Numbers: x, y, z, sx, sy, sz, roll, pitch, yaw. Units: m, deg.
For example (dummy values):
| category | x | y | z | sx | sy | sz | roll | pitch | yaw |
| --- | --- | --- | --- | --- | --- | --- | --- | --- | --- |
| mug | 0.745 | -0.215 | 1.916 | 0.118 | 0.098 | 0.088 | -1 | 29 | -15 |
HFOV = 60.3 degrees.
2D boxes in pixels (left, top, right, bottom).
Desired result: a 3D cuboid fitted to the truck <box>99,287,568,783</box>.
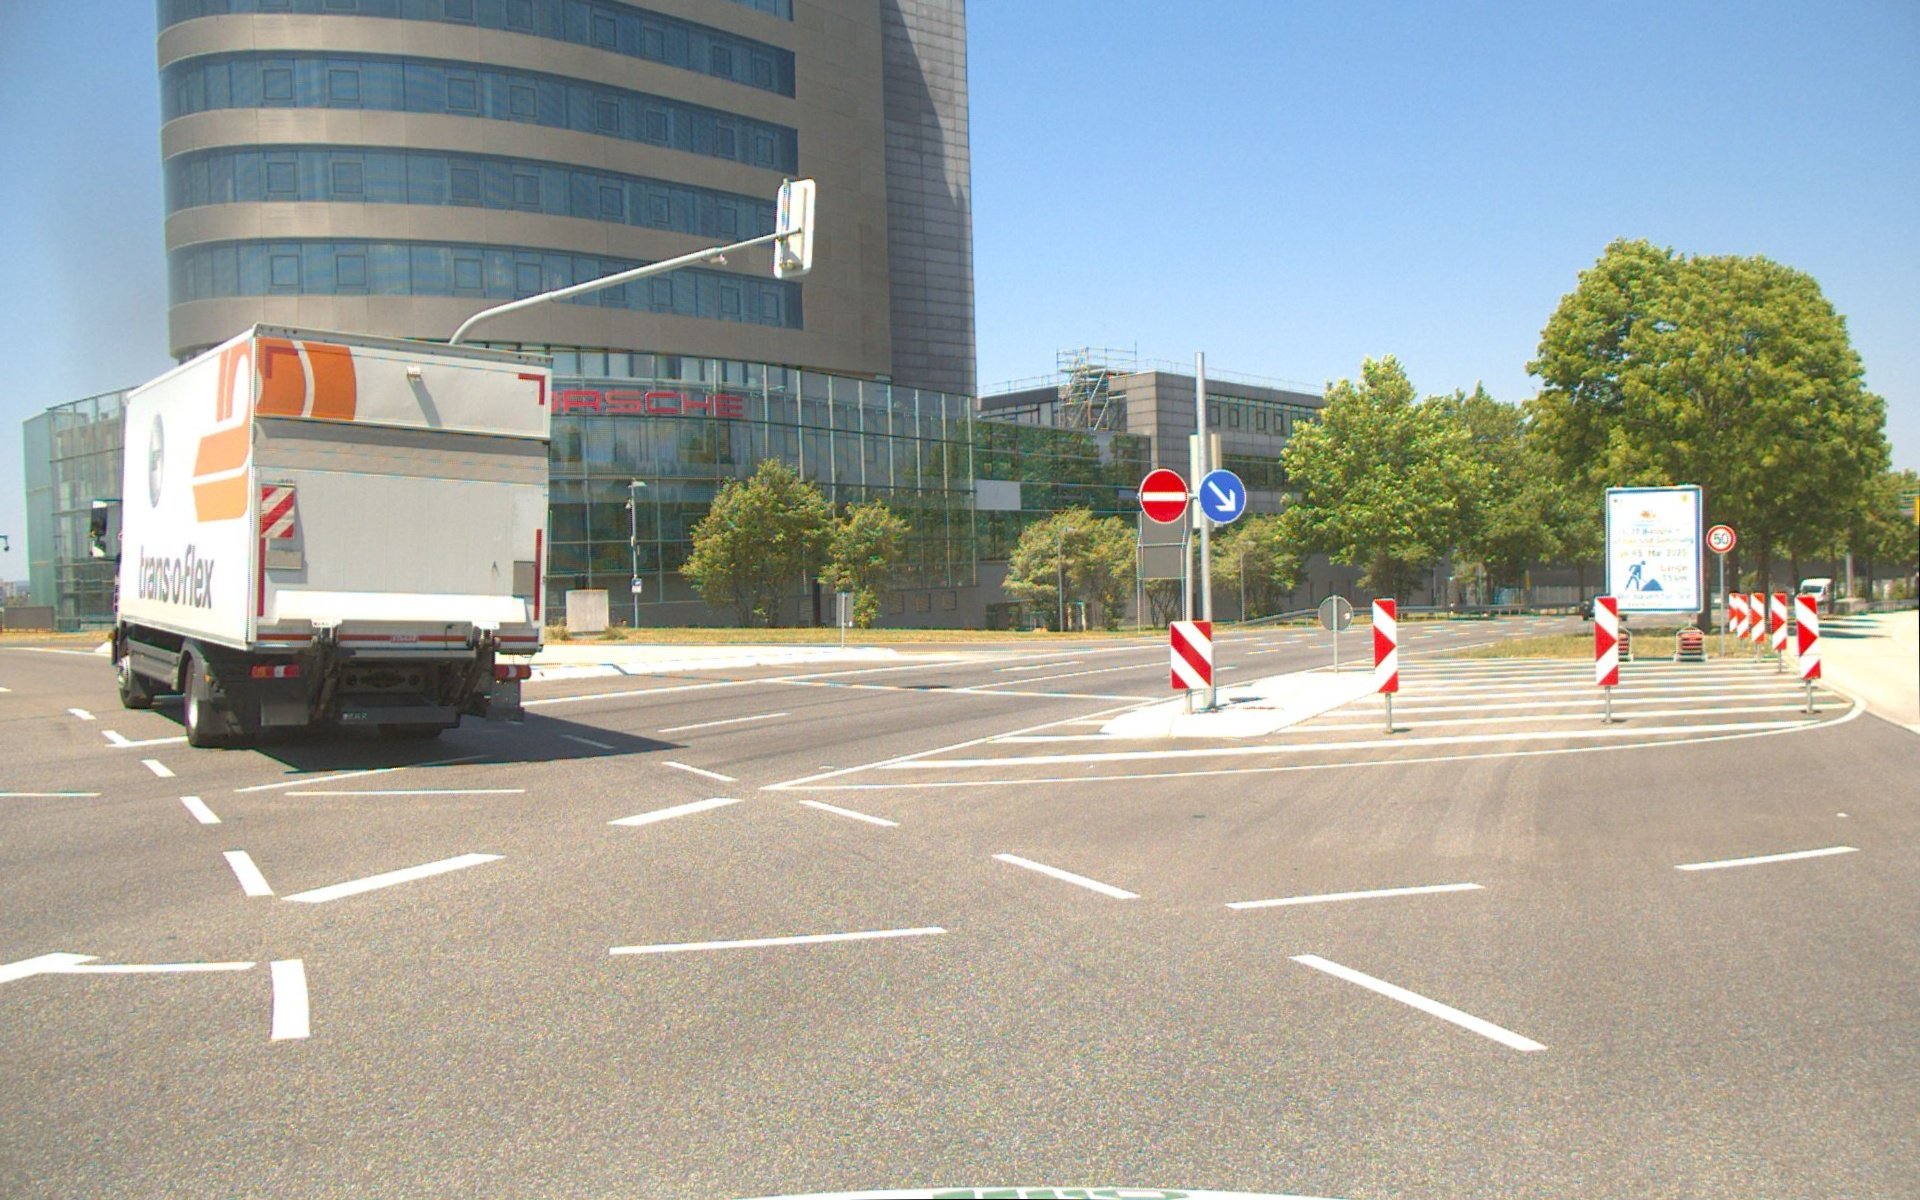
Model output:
| category | x | y | z | sx | sy | sz | roll | pitch | yaw |
| --- | --- | --- | --- | --- | --- | --- | --- | --- | --- |
| truck | -7.156 | -0.526 | 17.741 | 2.745 | 3.927 | 9.260 | 0 | 0 | -34 |

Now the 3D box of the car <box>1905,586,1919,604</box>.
| category | x | y | z | sx | sy | sz | roll | pitch | yaw |
| --- | --- | --- | --- | --- | --- | --- | --- | --- | --- |
| car | 89.996 | -0.476 | 155.008 | 1.707 | 1.691 | 3.974 | 0 | 0 | 43 |

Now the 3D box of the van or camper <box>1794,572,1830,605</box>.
| category | x | y | z | sx | sy | sz | roll | pitch | yaw |
| --- | --- | --- | --- | --- | --- | --- | --- | --- | --- |
| van or camper | 72.283 | -0.961 | 140.319 | 1.963 | 2.729 | 3.980 | 0 | 0 | 39 |
